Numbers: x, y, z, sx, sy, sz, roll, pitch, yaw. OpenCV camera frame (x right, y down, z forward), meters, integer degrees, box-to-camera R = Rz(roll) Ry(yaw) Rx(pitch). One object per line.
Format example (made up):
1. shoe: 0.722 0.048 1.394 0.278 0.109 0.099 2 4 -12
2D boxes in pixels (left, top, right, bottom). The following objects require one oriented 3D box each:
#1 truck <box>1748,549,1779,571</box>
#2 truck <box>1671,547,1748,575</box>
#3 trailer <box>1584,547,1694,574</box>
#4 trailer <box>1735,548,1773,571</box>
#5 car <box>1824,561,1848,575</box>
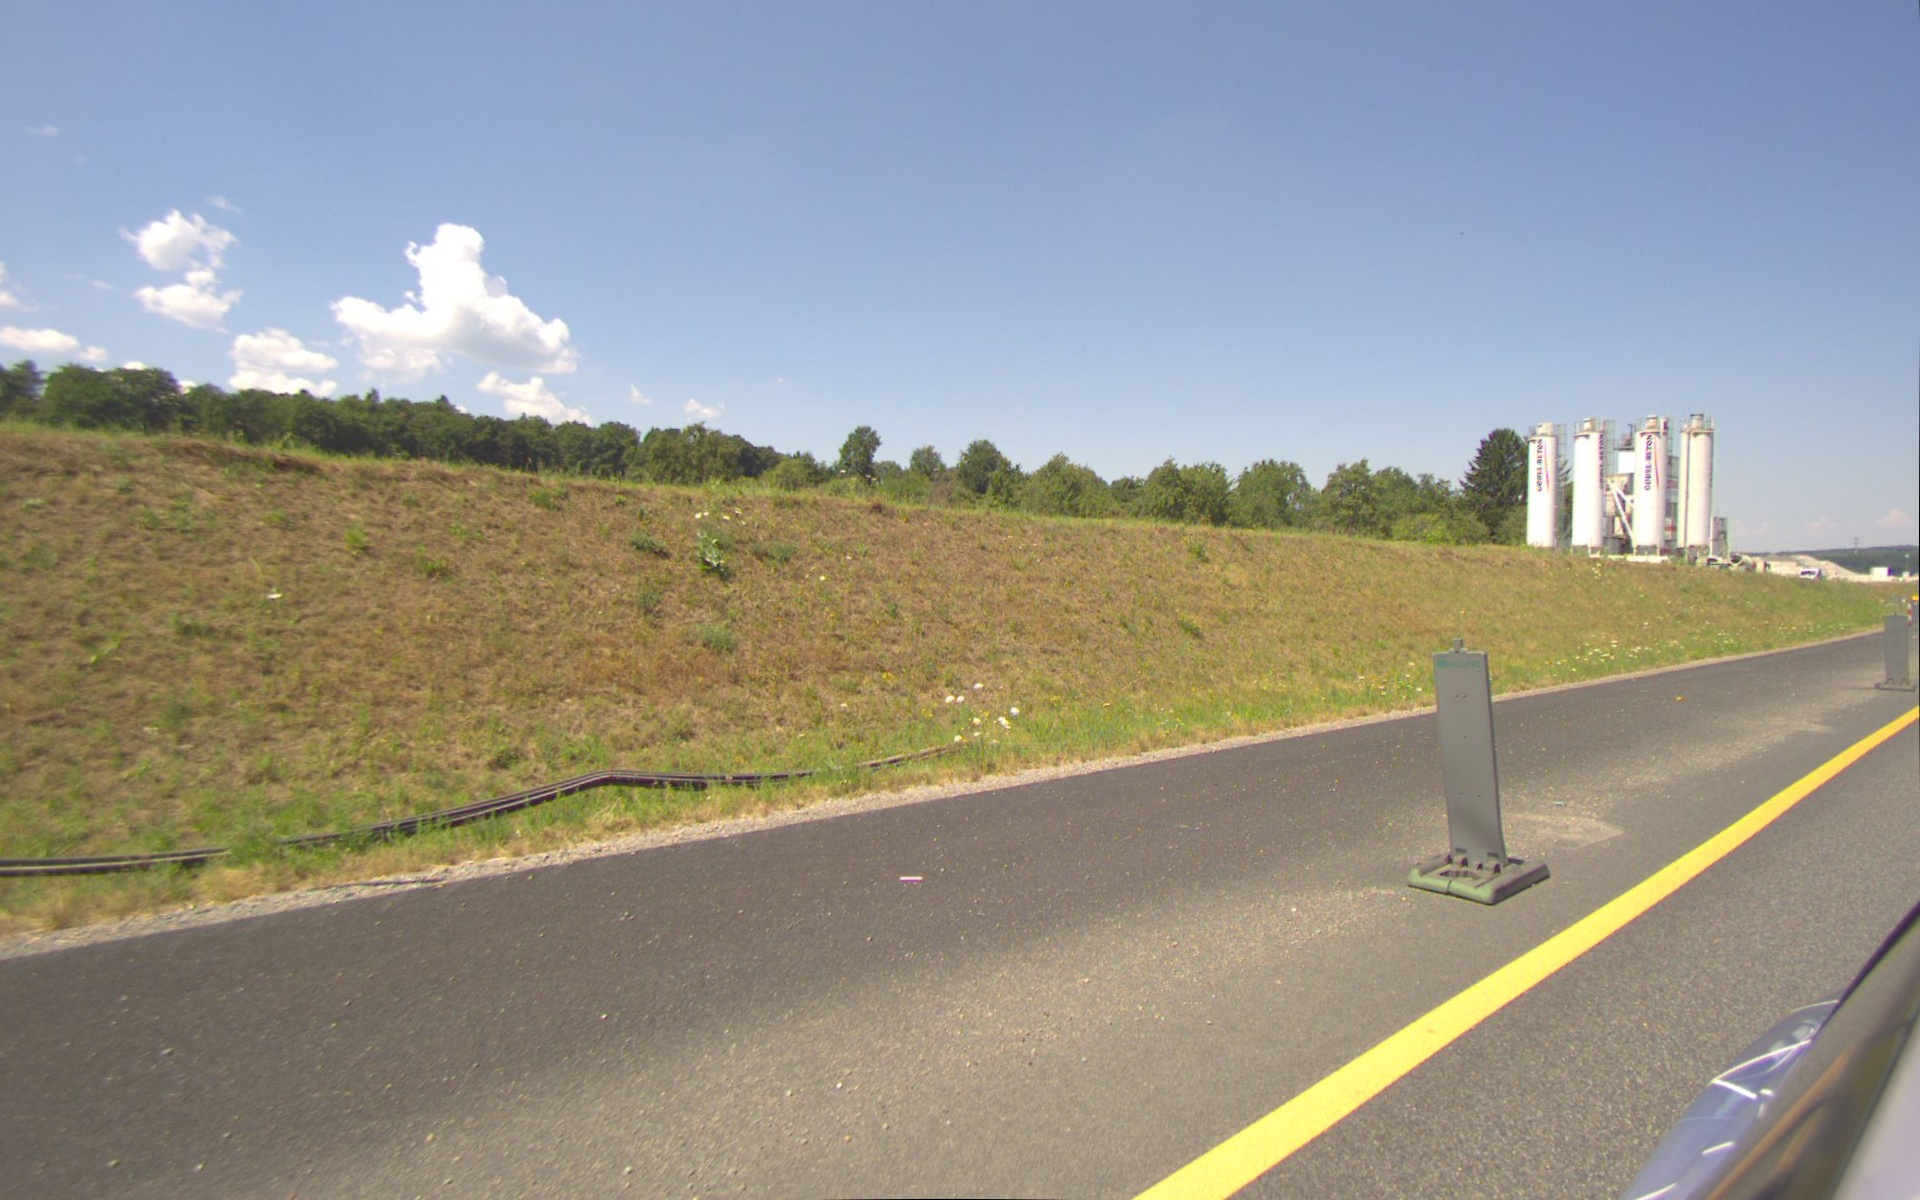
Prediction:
1. truck: 98.163 -4.916 123.658 3.967 2.577 2.022 -1 0 -38
2. truck: 72.752 -3.788 98.294 5.227 2.576 2.894 -1 0 13
3. trailer: 67.929 -3.890 101.398 2.424 2.639 8.902 -1 2 -44
4. trailer: 95.265 -4.875 121.432 6.810 2.677 1.998 -1 1 -38
5. car: 116.621 -4.281 134.764 3.540 1.784 1.988 -1 1 -41
